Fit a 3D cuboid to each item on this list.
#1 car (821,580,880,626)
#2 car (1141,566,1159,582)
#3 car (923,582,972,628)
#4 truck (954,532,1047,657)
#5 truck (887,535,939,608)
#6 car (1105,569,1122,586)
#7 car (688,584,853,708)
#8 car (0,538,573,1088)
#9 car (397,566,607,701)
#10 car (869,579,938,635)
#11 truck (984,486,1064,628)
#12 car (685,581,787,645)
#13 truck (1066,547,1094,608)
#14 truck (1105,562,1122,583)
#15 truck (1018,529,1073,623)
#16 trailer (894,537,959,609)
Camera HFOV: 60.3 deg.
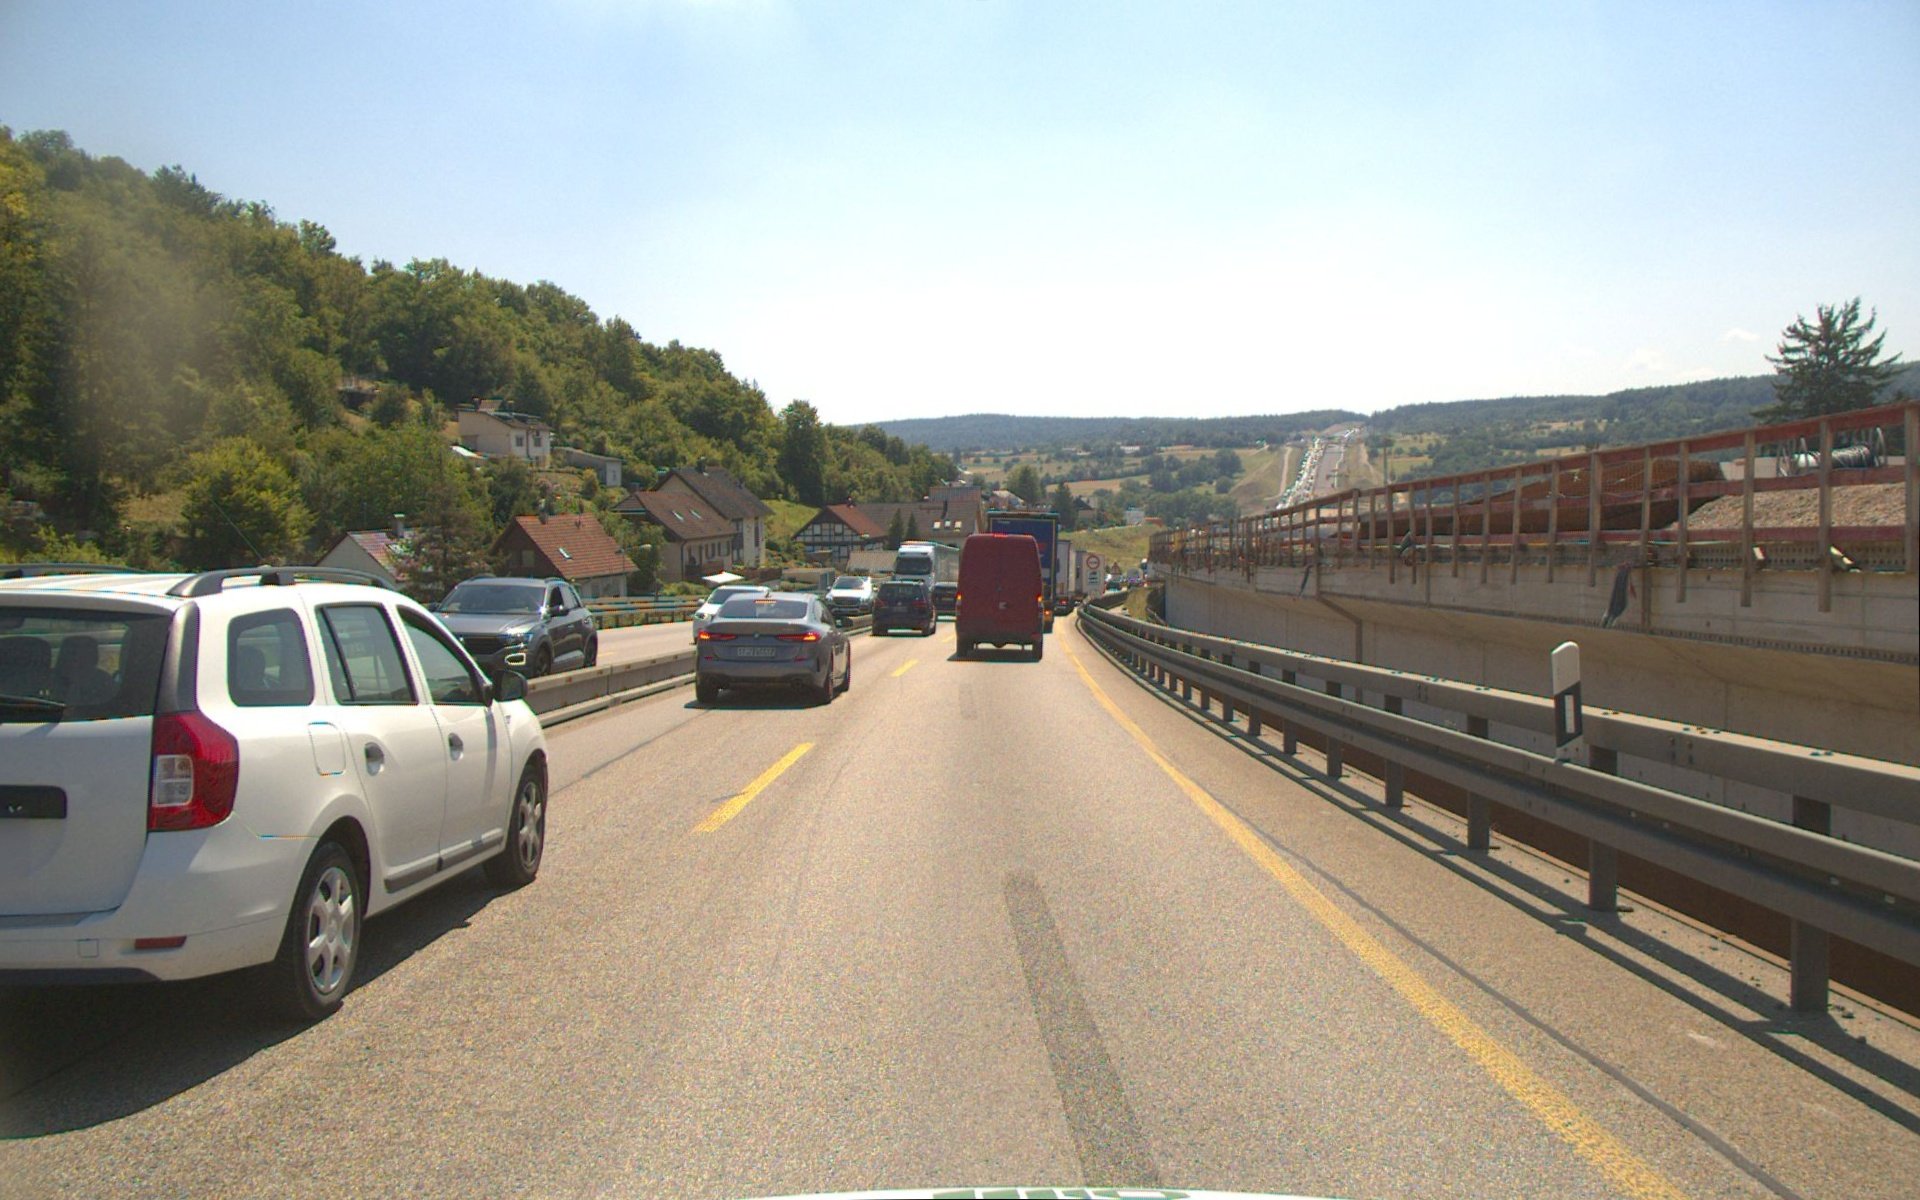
[{"bbox_3d":[-4.327,0.113,66.063,1.872,1.735,4.737,1,0,1],"label":"car"},{"bbox_3d":[25.675,-3.515,223.856,2.086,2.049,4.003,1,0,11],"label":"car"},{"bbox_3d":[-0.513,0.219,70.291,1.693,1.870,4.002,1,0,4],"label":"car"},{"bbox_3d":[0.940,-0.112,37.341,1.952,2.623,4.001,1,0,2],"label":"truck"},{"bbox_3d":[-3.196,-1.931,114.314,2.996,4.906,4.648,1,-1,5],"label":"truck"},{"bbox_3d":[19.417,-2.798,209.581,1.765,2.049,4.004,2,1,10],"label":"car"},{"bbox_3d":[-2.478,0.553,22.510,1.758,1.511,4.050,1,0,0],"label":"car"},{"bbox_3d":[-2.891,0.606,6.703,1.618,1.509,4.266,-1,0,0],"label":"car"},{"bbox_3d":[-6.204,0.412,22.877,1.703,1.670,4.001,1,0,1],"label":"car"},{"bbox_3d":[-1.720,0.230,51.167,1.772,1.636,3.720,1,0,3],"label":"car"},{"bbox_3d":[2.382,-1.455,62.625,2.728,4.900,9.686,1,0,2],"label":"truck"},{"bbox_3d":[-5.670,0.304,42.375,1.872,1.512,4.478,1,0,1],"label":"car"},{"bbox_3d":[8.972,-1.663,123.552,1.951,4.458,4.002,1,-1,5],"label":"truck"},{"bbox_3d":[12.512,-2.233,134.674,1.286,1.569,3.153,1,0,6],"label":"truck"},{"bbox_3d":[4.696,-1.210,92.160,2.728,4.900,9.686,1,0,2],"label":"truck"},{"bbox_3d":[-2.354,-1.842,122.330,2.999,4.900,14.011,1,0,6],"label":"trailer"}]
